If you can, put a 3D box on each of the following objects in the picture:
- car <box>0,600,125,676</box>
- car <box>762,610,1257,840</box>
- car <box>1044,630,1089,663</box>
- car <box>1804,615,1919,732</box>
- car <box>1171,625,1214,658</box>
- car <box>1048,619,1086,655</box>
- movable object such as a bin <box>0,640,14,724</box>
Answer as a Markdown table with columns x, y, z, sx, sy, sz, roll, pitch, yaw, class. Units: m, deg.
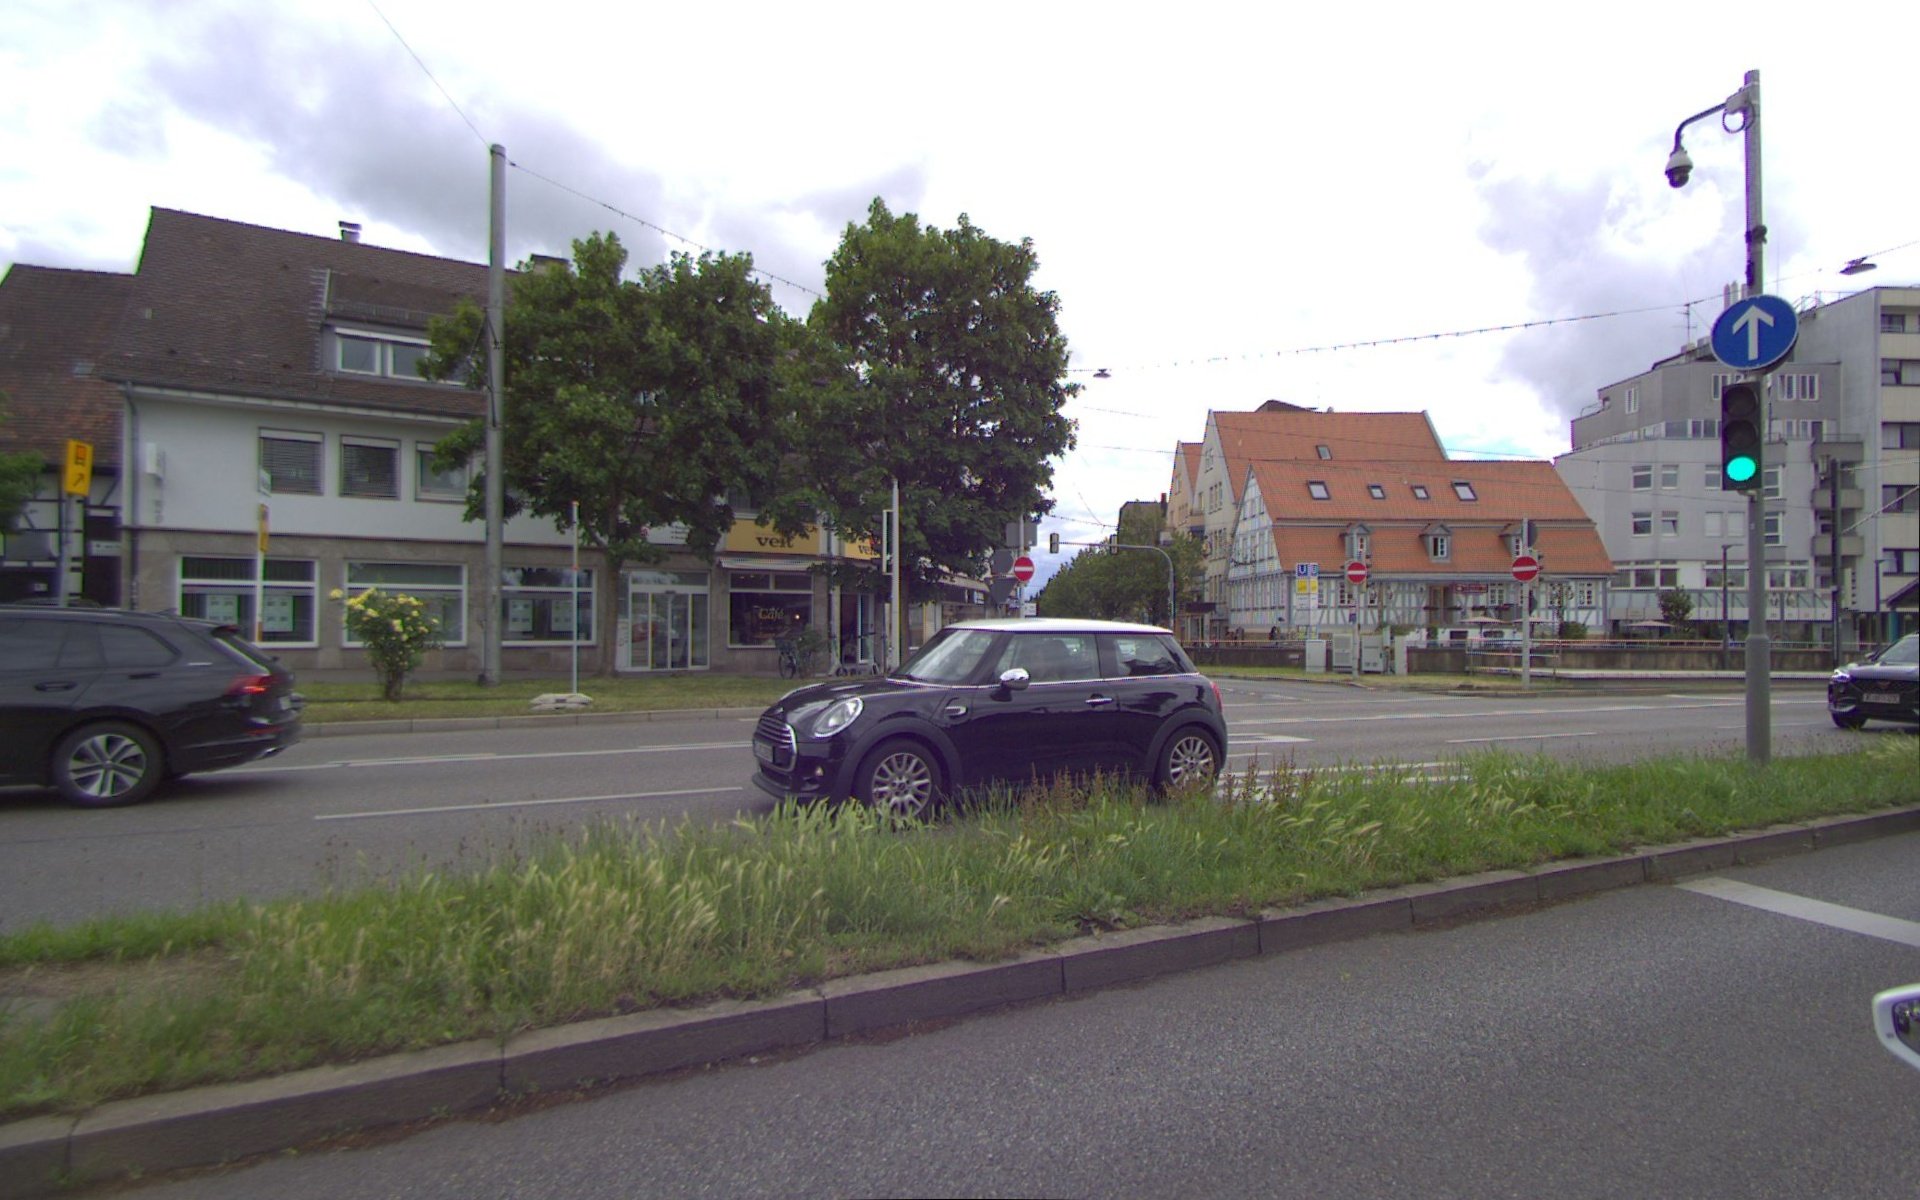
| x | y | z | sx | sy | sz | roll | pitch | yaw | class |
| --- | --- | --- | --- | --- | --- | --- | --- | --- | --- |
| -21.189 | 0.836 | 23.522 | 1.699 | 1.632 | 3.673 | 1 | -1 | -27 | car |
| 0.420 | 0.865 | 7.962 | 3.606 | 1.465 | 1.608 | 2 | -2 | -27 | car |
| 5.808 | 2.482 | 54.494 | 1.815 | 1.606 | 3.608 | -1 | 0 | 15 | car |
| 15.137 | 1.103 | 15.374 | 4.219 | 1.639 | 1.892 | 2 | -2 | -26 | car |
| 12.750 | 2.272 | 55.305 | 1.959 | 1.706 | 4.003 | 0 | -2 | 8 | car |
| 6.891 | 2.341 | 64.424 | 2.200 | 2.089 | 4.409 | -1 | 0 | 8 | car |
| -12.630 | 1.049 | 12.905 | 0.590 | 1.056 | 0.689 | 0 | 0 | -35 | movable object such as a bin |
